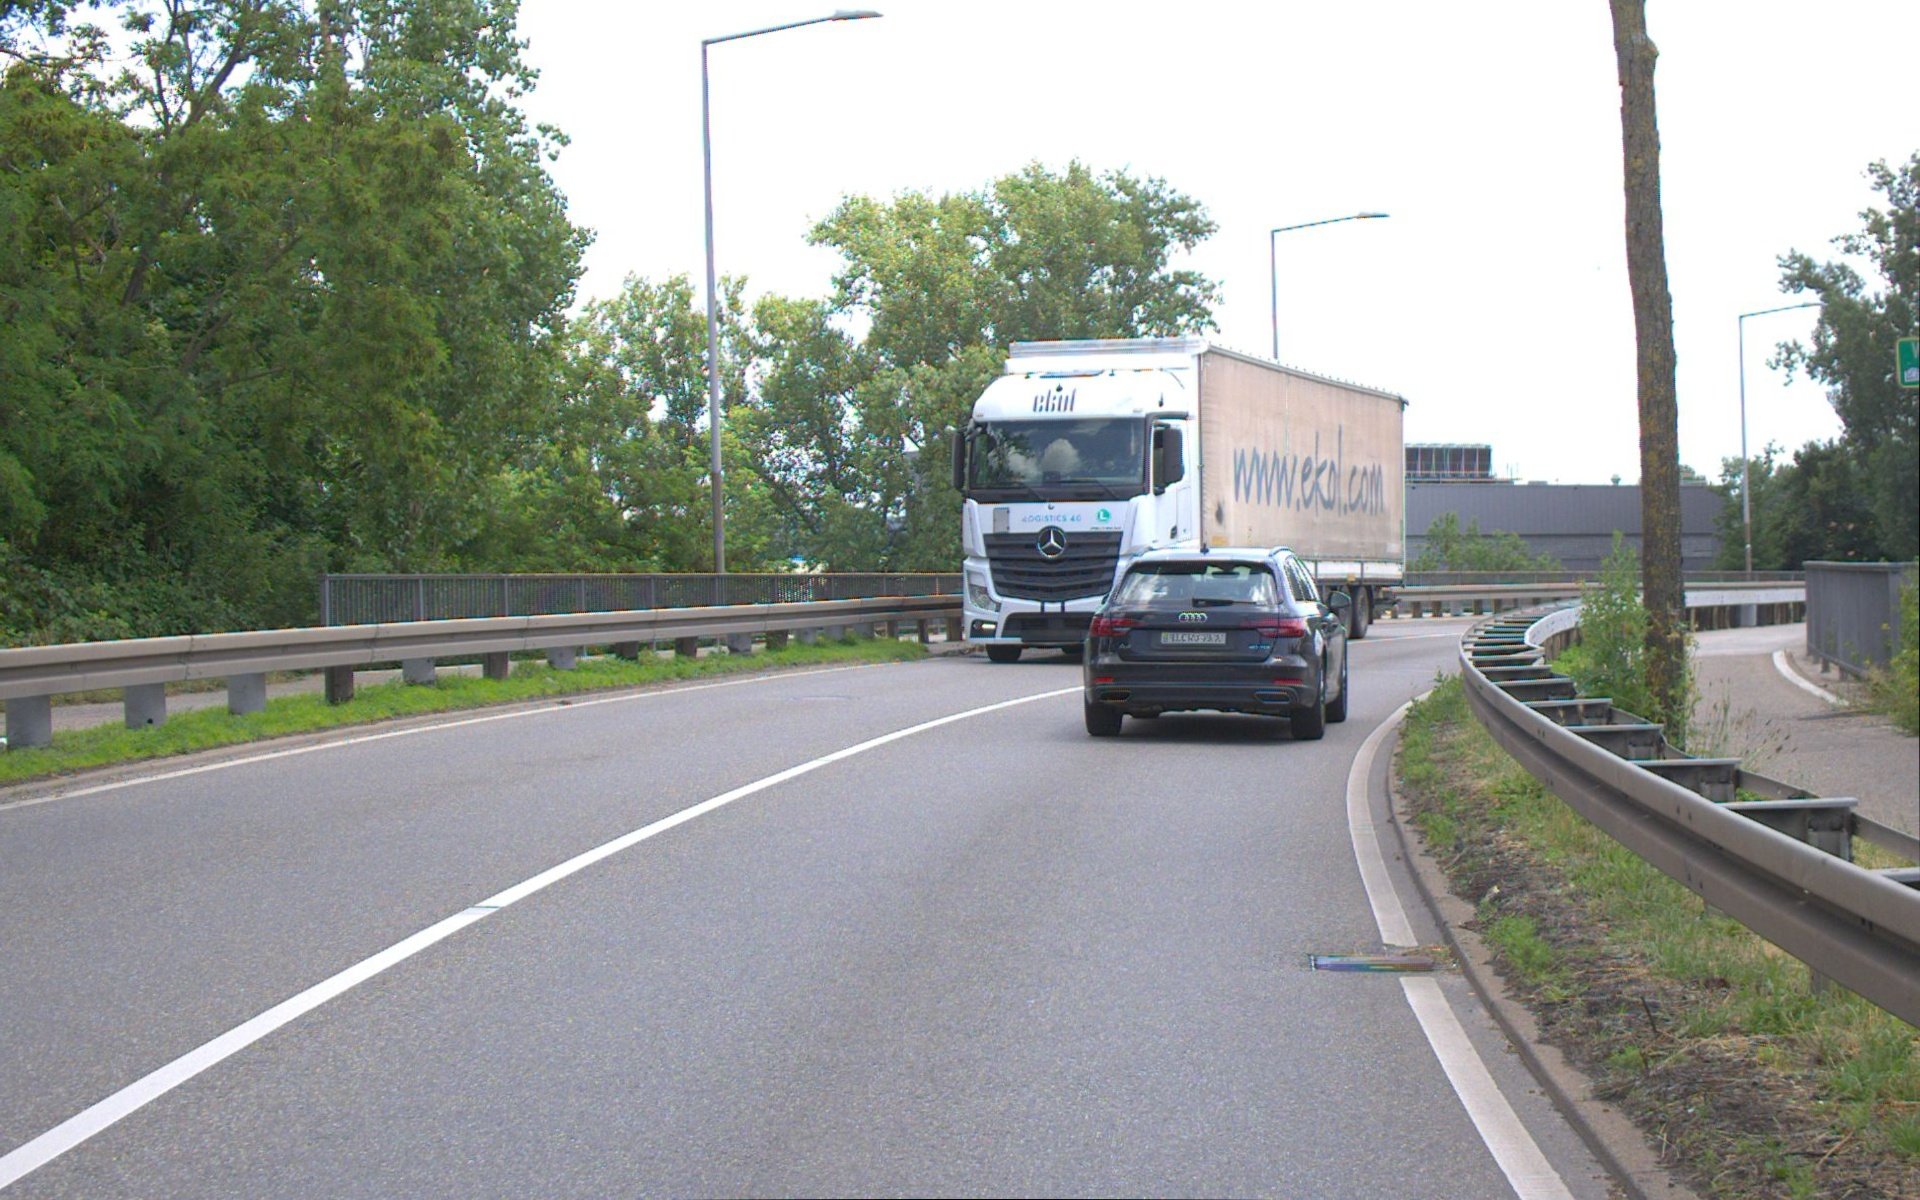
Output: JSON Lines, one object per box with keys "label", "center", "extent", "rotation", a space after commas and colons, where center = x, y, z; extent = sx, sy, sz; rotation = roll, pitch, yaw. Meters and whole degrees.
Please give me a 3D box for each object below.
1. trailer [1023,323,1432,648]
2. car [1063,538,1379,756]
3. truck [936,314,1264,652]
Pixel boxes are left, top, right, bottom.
{"label": "trailer", "center": [4.437, -1.590, 52.256], "extent": [2.709, 4.265, 14.218], "rotation": [1, 1, 19]}
{"label": "car", "center": [2.120, 0.295, 26.826], "extent": [1.829, 1.486, 4.204], "rotation": [2, 2, 13]}
{"label": "truck", "center": [1.933, -1.473, 44.970], "extent": [2.764, 4.120, 5.648], "rotation": [1, 1, 19]}
